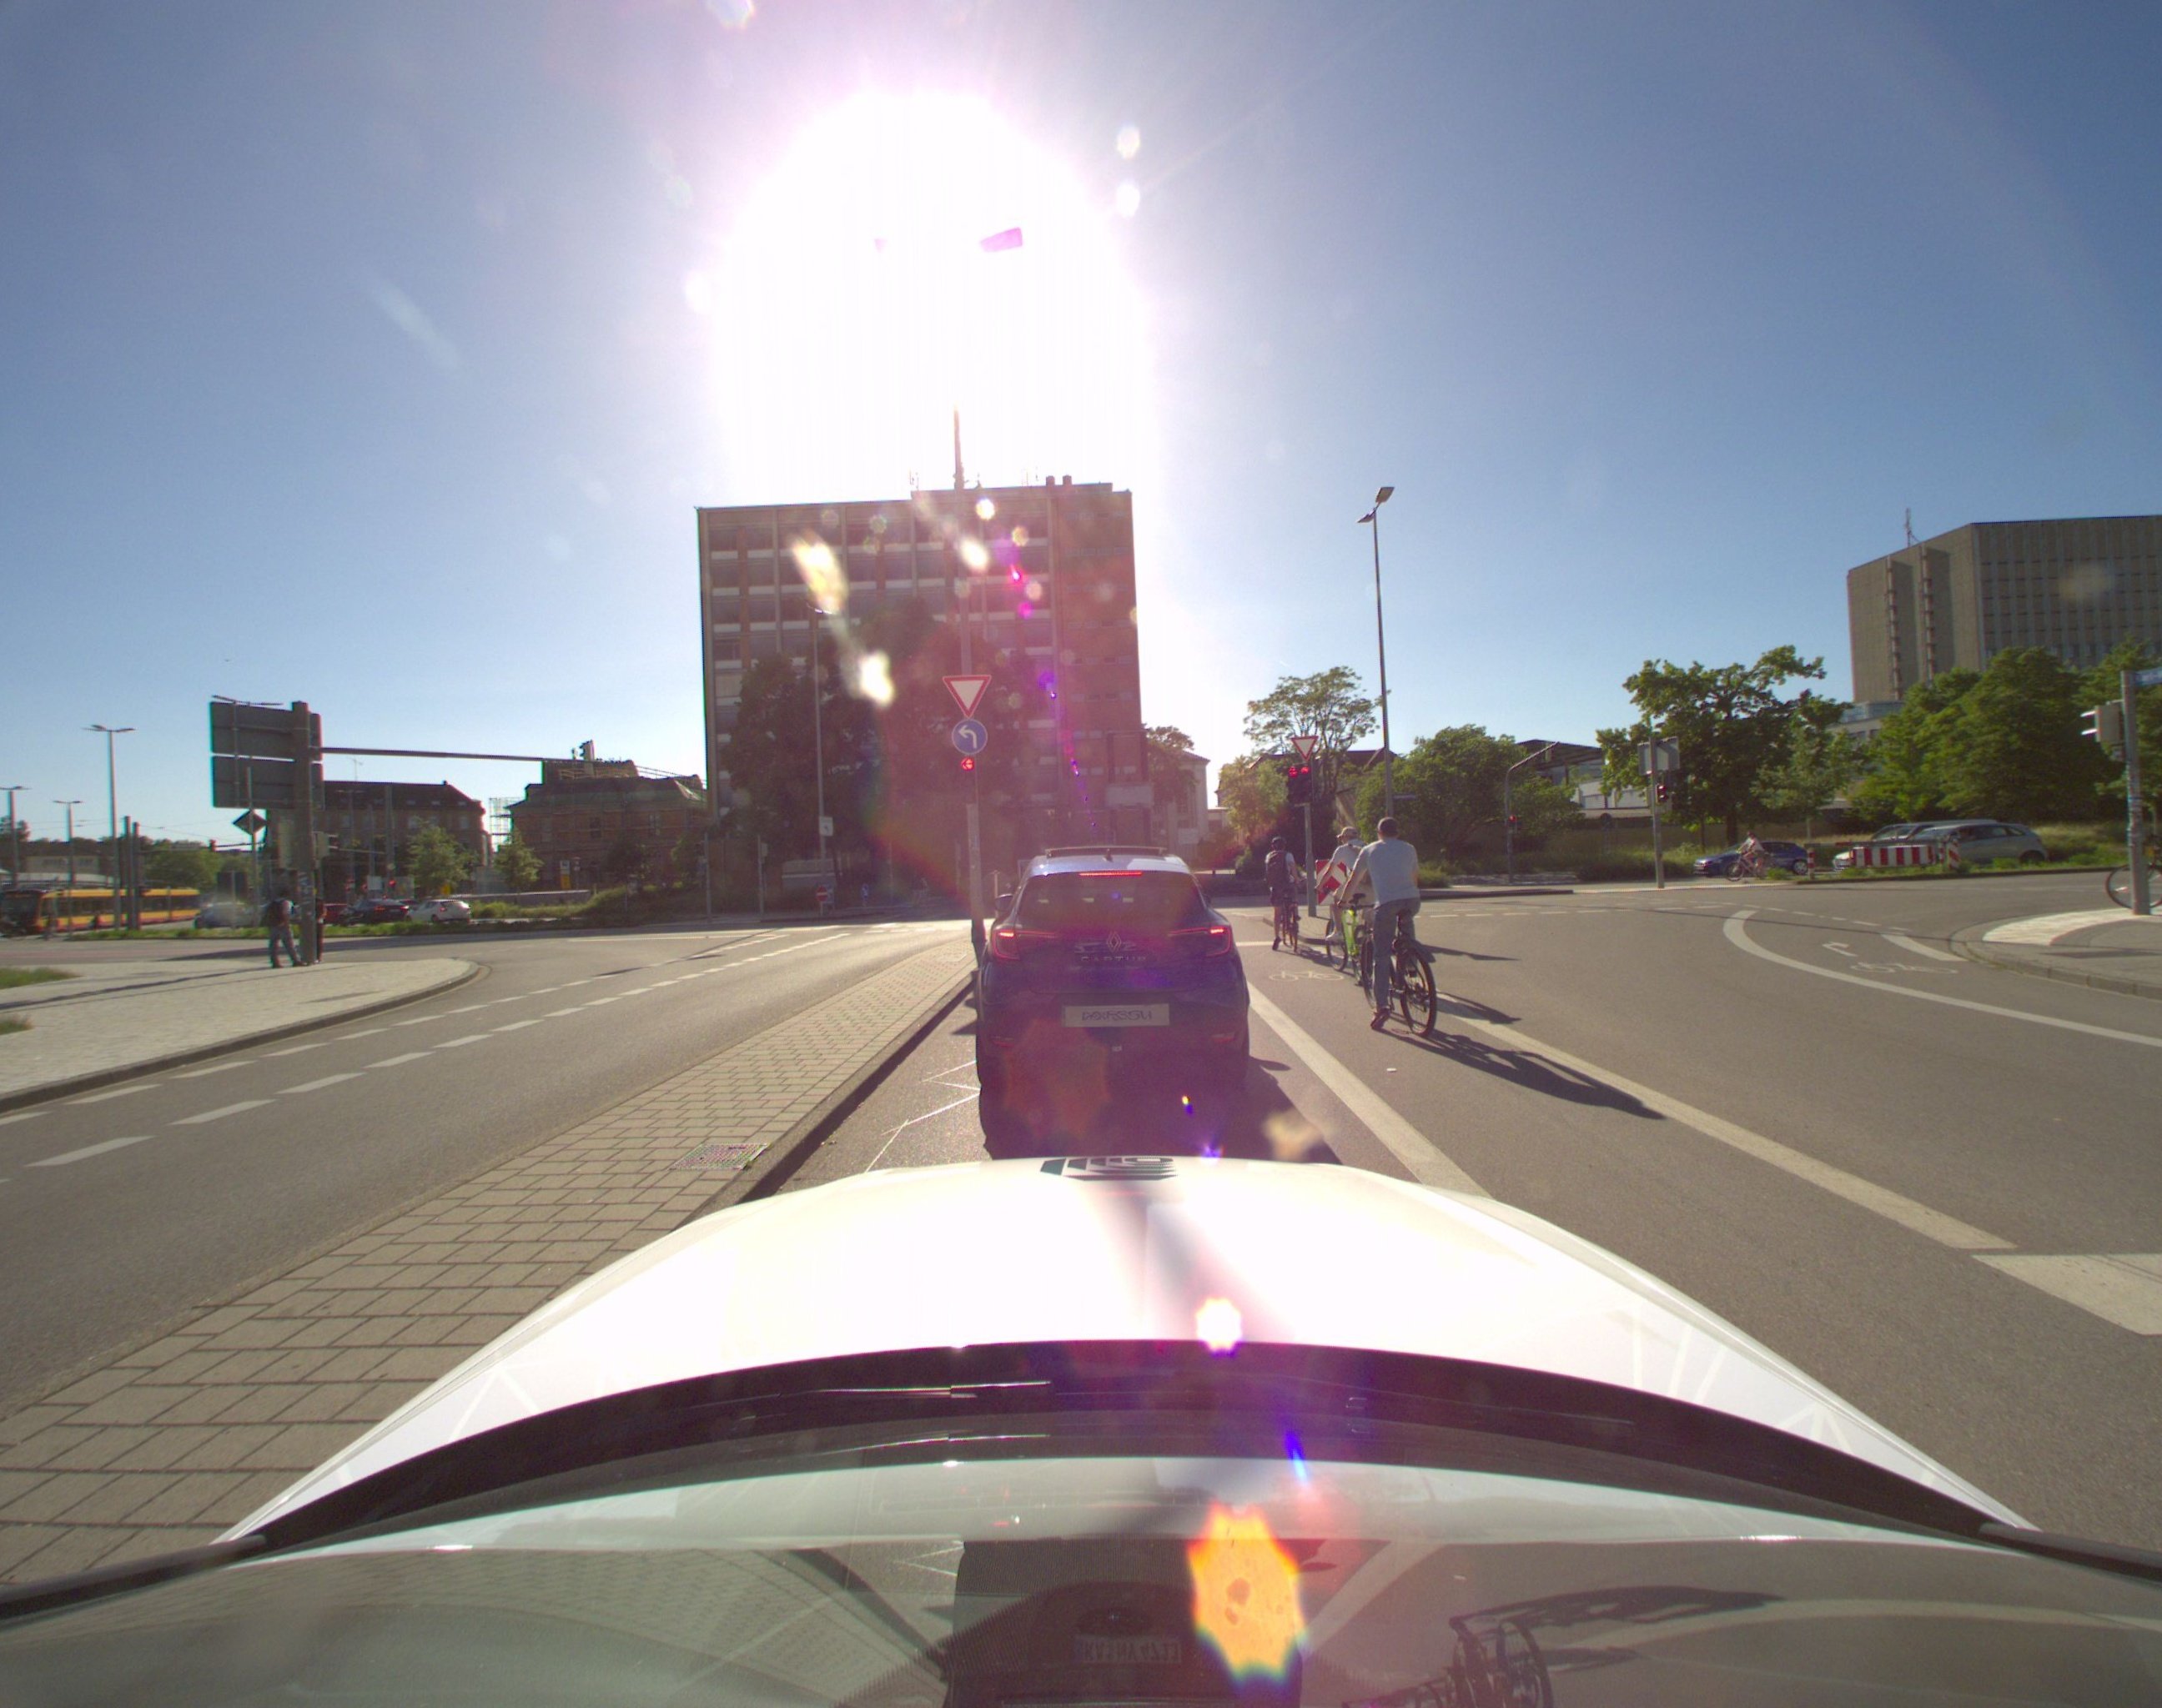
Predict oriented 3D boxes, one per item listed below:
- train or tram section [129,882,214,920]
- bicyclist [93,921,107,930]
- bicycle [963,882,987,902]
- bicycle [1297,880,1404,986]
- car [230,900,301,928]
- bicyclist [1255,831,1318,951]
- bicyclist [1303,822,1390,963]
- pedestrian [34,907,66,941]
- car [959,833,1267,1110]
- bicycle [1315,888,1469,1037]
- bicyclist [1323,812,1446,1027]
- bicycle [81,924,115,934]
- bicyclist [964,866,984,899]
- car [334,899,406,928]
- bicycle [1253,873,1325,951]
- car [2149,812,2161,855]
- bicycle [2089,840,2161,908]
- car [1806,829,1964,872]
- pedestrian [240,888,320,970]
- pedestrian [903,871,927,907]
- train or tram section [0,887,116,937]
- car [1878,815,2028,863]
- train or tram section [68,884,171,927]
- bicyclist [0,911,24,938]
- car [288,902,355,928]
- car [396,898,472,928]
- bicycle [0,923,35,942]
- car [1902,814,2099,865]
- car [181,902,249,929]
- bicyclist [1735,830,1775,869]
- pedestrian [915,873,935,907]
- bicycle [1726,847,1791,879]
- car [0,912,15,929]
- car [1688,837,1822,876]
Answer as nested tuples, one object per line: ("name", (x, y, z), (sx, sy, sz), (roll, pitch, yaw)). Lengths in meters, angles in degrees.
("train or tram section", (-90.611, 4.571, 81.357), (2.710, 3.232, 10.495), (0, -1, -31))
("bicyclist", (-64.679, 4.713, 53.710), (0.425, 0.549, 0.575), (-3, -1, 42))
("bicycle", (-5.734, 2.043, 44.165), (0.751, 0.985, 2.098), (-2, 0, 8))
("bicycle", (3.190, 0.889, 9.829), (0.687, 1.089, 1.923), (-1, 0, 2))
("car", (-48.871, 3.600, 48.797), (3.834, 1.508, 1.805), (-3, -1, 25))
("bicyclist", (3.233, 0.559, 12.880), (0.697, 1.791, 1.142), (-1, -1, 2))
("bicyclist", (3.188, 0.447, 9.874), (0.676, 1.594, 1.142), (-1, -1, 1))
("pedestrian", (-63.550, 4.287, 50.199), (0.716, 2.013, 1.048), (-3, -1, 23))
("car", (0.193, 0.704, 6.761), (1.783, 1.585, 3.913), (-1, 0, 0))
("bicycle", (2.728, 0.898, 7.383), (0.687, 1.089, 1.923), (-1, 0, 2))
("bicyclist", (2.728, 0.556, 7.432), (0.680, 1.791, 1.142), (-1, -1, 2))
("bicycle", (-64.729, 4.948, 53.633), (0.429, 0.549, 1.419), (-3, -1, 42))
("bicyclist", (-5.770, 1.525, 44.066), (0.751, 1.716, 1.001), (-2, -1, 7))
("car", (-42.557, 3.560, 48.732), (3.834, 1.508, 1.805), (-3, -1, 25))
("bicycle", (3.249, 0.875, 12.900), (0.687, 1.089, 1.923), (-1, 0, 2))
("car", (36.896, -0.760, 25.327), (4.534, 1.398, 1.798), (-2, -1, 7))
("bicycle", (15.910, 0.269, 11.621), (0.640, 0.958, 1.866), (-2, -1, -39))
("car", (30.291, -0.133, 30.789), (3.965, 1.398, 1.798), (-2, -1, 7))
("pedestrian", (-18.104, 1.675, 18.420), (0.647, 1.730, 1.066), (-3, -1, 15))
("pedestrian", (-8.815, 1.844, 43.283), (0.807, 1.862, 0.913), (-3, -1, 15))
("train or tram section", (-79.701, 4.374, 63.400), (2.710, 3.232, 10.495), (0, -1, -31))
("car", (35.865, -0.615, 33.604), (3.965, 1.749, 1.798), (-2, -1, 7))
("train or tram section", (-85.129, 4.458, 72.377), (2.710, 3.232, 10.495), (0, -1, -31))
("bicyclist", (-67.670, 4.432, 51.111), (0.800, 1.634, 1.586), (-1, -1, 36))
("car", (-48.214, 3.866, 51.701), (3.834, 1.508, 1.805), (-3, -1, 25))
("car", (-36.401, 3.333, 45.828), (3.834, 1.508, 1.805), (-3, -1, 25))
("bicycle", (-67.672, 4.960, 51.125), (0.800, 1.062, 2.434), (-1, -1, 36))
("car", (29.215, -0.431, 25.997), (3.965, 1.398, 1.798), (-2, -1, 7))
("car", (-54.920, 3.887, 51.629), (3.834, 1.508, 1.805), (-3, -1, 25))
("bicyclist", (24.030, -0.158, 29.047), (0.870, 1.343, 0.612), (-2, -1, 7))
("pedestrian", (-8.179, 1.884, 42.723), (0.675, 1.730, 0.764), (-3, -1, 15))
("bicycle", (24.134, 0.324, 29.031), (1.673, 1.033, 0.612), (-2, -1, 7))
("car", (-111.840, 6.855, 83.893), (1.753, 1.651, 3.952), (-2, -1, -42))
("car", (28.129, 0.108, 34.103), (3.965, 1.398, 1.798), (-2, -1, 7))
